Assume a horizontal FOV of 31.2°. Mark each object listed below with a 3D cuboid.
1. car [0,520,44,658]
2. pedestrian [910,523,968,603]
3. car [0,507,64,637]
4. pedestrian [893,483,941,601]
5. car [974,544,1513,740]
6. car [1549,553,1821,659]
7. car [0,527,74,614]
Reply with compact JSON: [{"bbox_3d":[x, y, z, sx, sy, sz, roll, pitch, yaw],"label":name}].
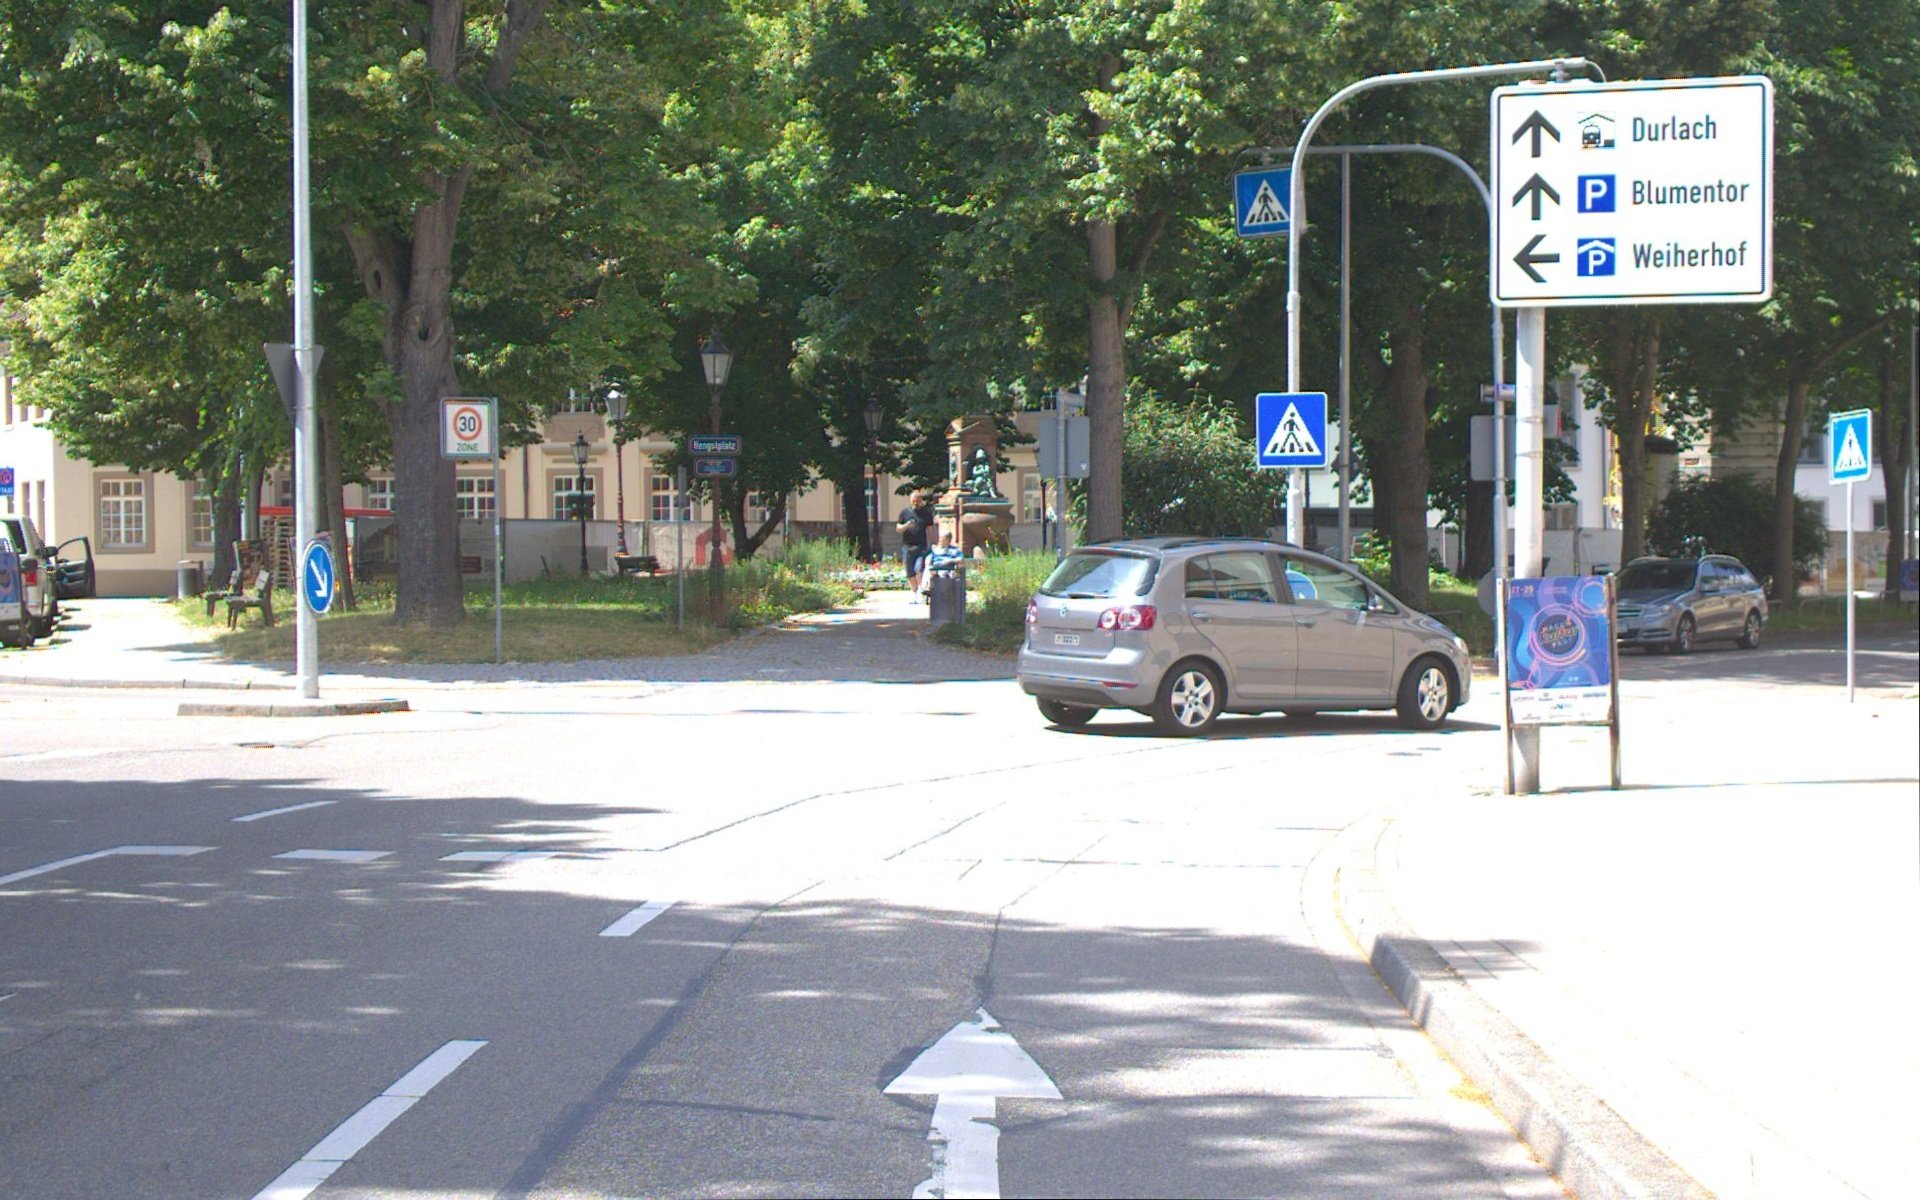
[{"bbox_3d":[-13.690,-0.188,47.370,1.993,1.820,4.424,-1,1,-14],"label":"car"},{"bbox_3d":[-0.333,-0.605,55.406,0.906,1.247,1.148,0,3,1],"label":"pedestrian"},{"bbox_3d":[-15.667,-0.482,55.640,2.049,1.996,5.251,-1,1,-13],"label":"car"},{"bbox_3d":[-0.706,-0.954,56.313,0.748,1.904,0.684,0,2,1],"label":"pedestrian"},{"bbox_3d":[2.400,0.300,28.716,4.230,1.528,1.909,0,1,-34],"label":"car"},{"bbox_3d":[10.803,0.051,51.064,4.396,1.483,1.742,-1,1,-43],"label":"car"},{"bbox_3d":[-18.957,-0.626,69.646,1.782,1.687,4.201,-1,1,-13],"label":"car"}]
